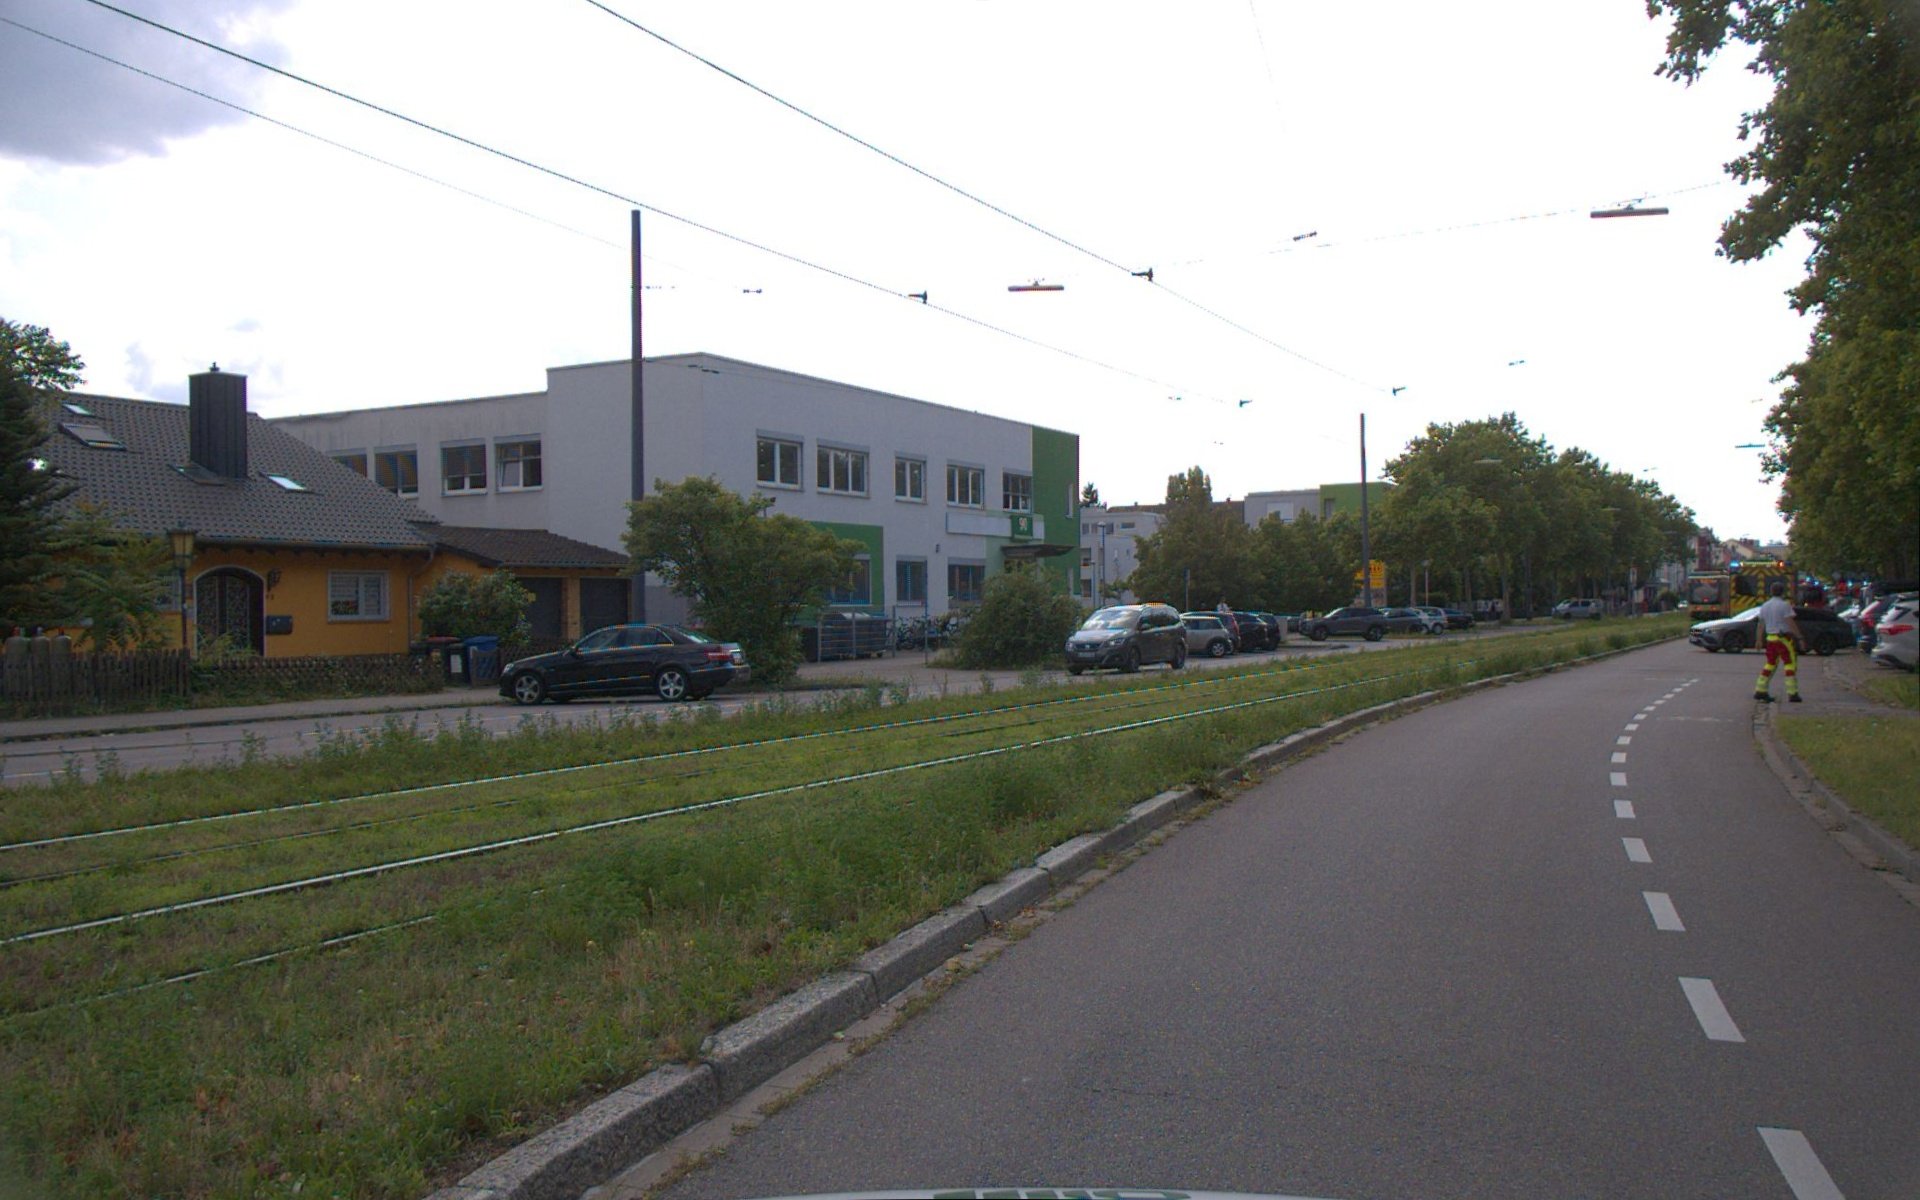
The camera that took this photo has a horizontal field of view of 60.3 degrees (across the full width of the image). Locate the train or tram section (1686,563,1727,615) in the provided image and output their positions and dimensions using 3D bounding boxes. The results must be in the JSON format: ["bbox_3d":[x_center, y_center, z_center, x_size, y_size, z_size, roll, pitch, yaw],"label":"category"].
[{"bbox_3d":[55.051,-0.781,122.017,2.437,3.659,7.420,-1,0,22],"label":"train or tram section"}]

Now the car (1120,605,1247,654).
[{"bbox_3d":[7.804,1.024,58.097,4.213,1.658,1.902,0,0,0],"label":"car"}]

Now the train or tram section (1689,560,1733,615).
[{"bbox_3d":[52.238,-0.829,115.175,2.437,3.659,7.420,-1,0,22],"label":"train or tram section"}]

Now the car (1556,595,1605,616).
[{"bbox_3d":[58.931,0.538,157.087,3.908,1.870,1.821,1,0,-3],"label":"car"}]

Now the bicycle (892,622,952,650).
[{"bbox_3d":[-1.398,1.328,60.553,2.113,0.987,0.729,-1,-1,33],"label":"bicycle"}]

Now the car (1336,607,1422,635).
[{"bbox_3d":[22.270,1.114,87.979,4.210,1.387,1.903,-1,0,6],"label":"car"}]

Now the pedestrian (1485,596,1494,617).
[{"bbox_3d":[44.890,0.580,140.174,0.608,1.759,0.645,1,0,28],"label":"pedestrian"}]

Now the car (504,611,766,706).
[{"bbox_3d":[-6.174,1.100,31.679,4.467,1.608,2.002,-2,-1,8],"label":"car"}]

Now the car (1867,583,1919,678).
[{"bbox_3d":[18.719,0.528,29.386,4.439,1.673,1.998,-1,-2,26],"label":"car"}]

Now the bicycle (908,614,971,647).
[{"bbox_3d":[-0.775,1.137,61.249,2.303,1.186,0.758,-1,-1,34],"label":"bicycle"}]

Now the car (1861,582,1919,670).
[{"bbox_3d":[19.875,0.484,31.697,4.439,1.673,1.998,-1,-2,26],"label":"car"}]

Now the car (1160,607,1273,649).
[{"bbox_3d":[9.770,1.059,63.176,4.071,1.530,1.861,0,0,1],"label":"car"}]

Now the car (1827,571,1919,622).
[{"bbox_3d":[63.133,-0.215,112.302,7.285,3.388,2.974,1,0,23],"label":"car"}]

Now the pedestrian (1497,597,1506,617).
[{"bbox_3d":[46.053,0.602,140.660,0.608,1.759,0.645,1,0,28],"label":"pedestrian"}]

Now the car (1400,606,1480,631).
[{"bbox_3d":[27.871,1.061,96.137,4.210,1.387,1.903,-1,0,6],"label":"car"}]

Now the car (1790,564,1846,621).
[{"bbox_3d":[53.170,-0.407,102.595,2.908,3.388,7.451,1,0,26],"label":"car"}]

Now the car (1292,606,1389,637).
[{"bbox_3d":[18.049,1.034,78.582,4.210,1.387,1.903,-1,0,4],"label":"car"}]

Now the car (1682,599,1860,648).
[{"bbox_3d":[24.626,0.710,50.367,4.493,1.418,1.842,0,0,6],"label":"car"}]

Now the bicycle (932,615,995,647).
[{"bbox_3d":[0.134,1.159,62.050,2.369,1.186,0.746,-1,-1,36],"label":"bicycle"}]

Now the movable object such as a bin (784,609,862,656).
[{"bbox_3d":[-4.128,0.983,50.025,1.347,1.350,2.112,-1,0,32],"label":"movable object such as a bin"}]

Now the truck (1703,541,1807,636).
[{"bbox_3d":[30.368,-0.403,63.020,3.123,3.375,7.511,-1,0,29],"label":"truck"}]

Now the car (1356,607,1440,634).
[{"bbox_3d":[24.020,1.143,90.802,4.210,1.387,1.903,-1,0,6],"label":"car"}]

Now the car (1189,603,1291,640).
[{"bbox_3d":[11.660,0.896,69.060,4.068,1.530,1.862,0,0,6],"label":"car"}]

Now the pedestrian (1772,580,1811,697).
[{"bbox_3d":[12.342,0.567,24.567,0.483,1.713,0.587,0,-1,24],"label":"pedestrian"}]

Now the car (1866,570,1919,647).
[{"bbox_3d":[27.131,0.220,44.820,4.456,2.049,1.997,-1,-1,29],"label":"car"}]

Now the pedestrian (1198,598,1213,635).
[{"bbox_3d":[11.441,0.768,77.132,0.583,1.704,0.541,-1,-1,19],"label":"pedestrian"}]

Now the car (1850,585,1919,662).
[{"bbox_3d":[22.148,0.505,36.350,4.439,1.673,1.998,-1,-2,26],"label":"car"}]

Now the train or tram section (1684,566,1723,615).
[{"bbox_3d":[57.872,-0.729,128.840,2.437,3.659,7.420,-1,0,22],"label":"train or tram section"}]

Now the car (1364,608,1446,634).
[{"bbox_3d":[25.033,1.161,93.194,4.210,1.387,1.903,-1,0,6],"label":"car"}]

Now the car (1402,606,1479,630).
[{"bbox_3d":[29.191,1.085,100.645,4.210,1.387,1.903,-1,0,6],"label":"car"}]

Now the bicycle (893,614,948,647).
[{"bbox_3d":[-1.374,1.062,57.688,1.756,1.100,0.736,-1,-1,26],"label":"bicycle"}]

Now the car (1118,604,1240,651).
[{"bbox_3d":[7.990,1.007,60.622,4.213,1.658,1.902,0,0,0],"label":"car"}]

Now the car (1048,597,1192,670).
[{"bbox_3d":[4.203,0.837,42.771,1.956,1.752,4.732,-1,0,29],"label":"car"}]

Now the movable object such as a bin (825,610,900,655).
[{"bbox_3d":[-3.047,1.003,51.925,1.347,1.350,2.126,-1,0,32],"label":"movable object such as a bin"}]

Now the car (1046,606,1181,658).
[{"bbox_3d":[5.104,1.055,55.291,4.217,1.658,1.900,-1,0,-5],"label":"car"}]

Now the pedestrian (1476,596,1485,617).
[{"bbox_3d":[44.283,0.569,140.782,0.608,1.759,0.645,1,0,28],"label":"pedestrian"}]

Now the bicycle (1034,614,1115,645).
[{"bbox_3d":[4.661,1.211,67.472,3.071,1.186,1.141,-1,-1,24],"label":"bicycle"}]

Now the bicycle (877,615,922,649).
[{"bbox_3d":[-2.178,1.143,59.234,0.701,1.186,1.594,0,-1,-45],"label":"bicycle"}]
